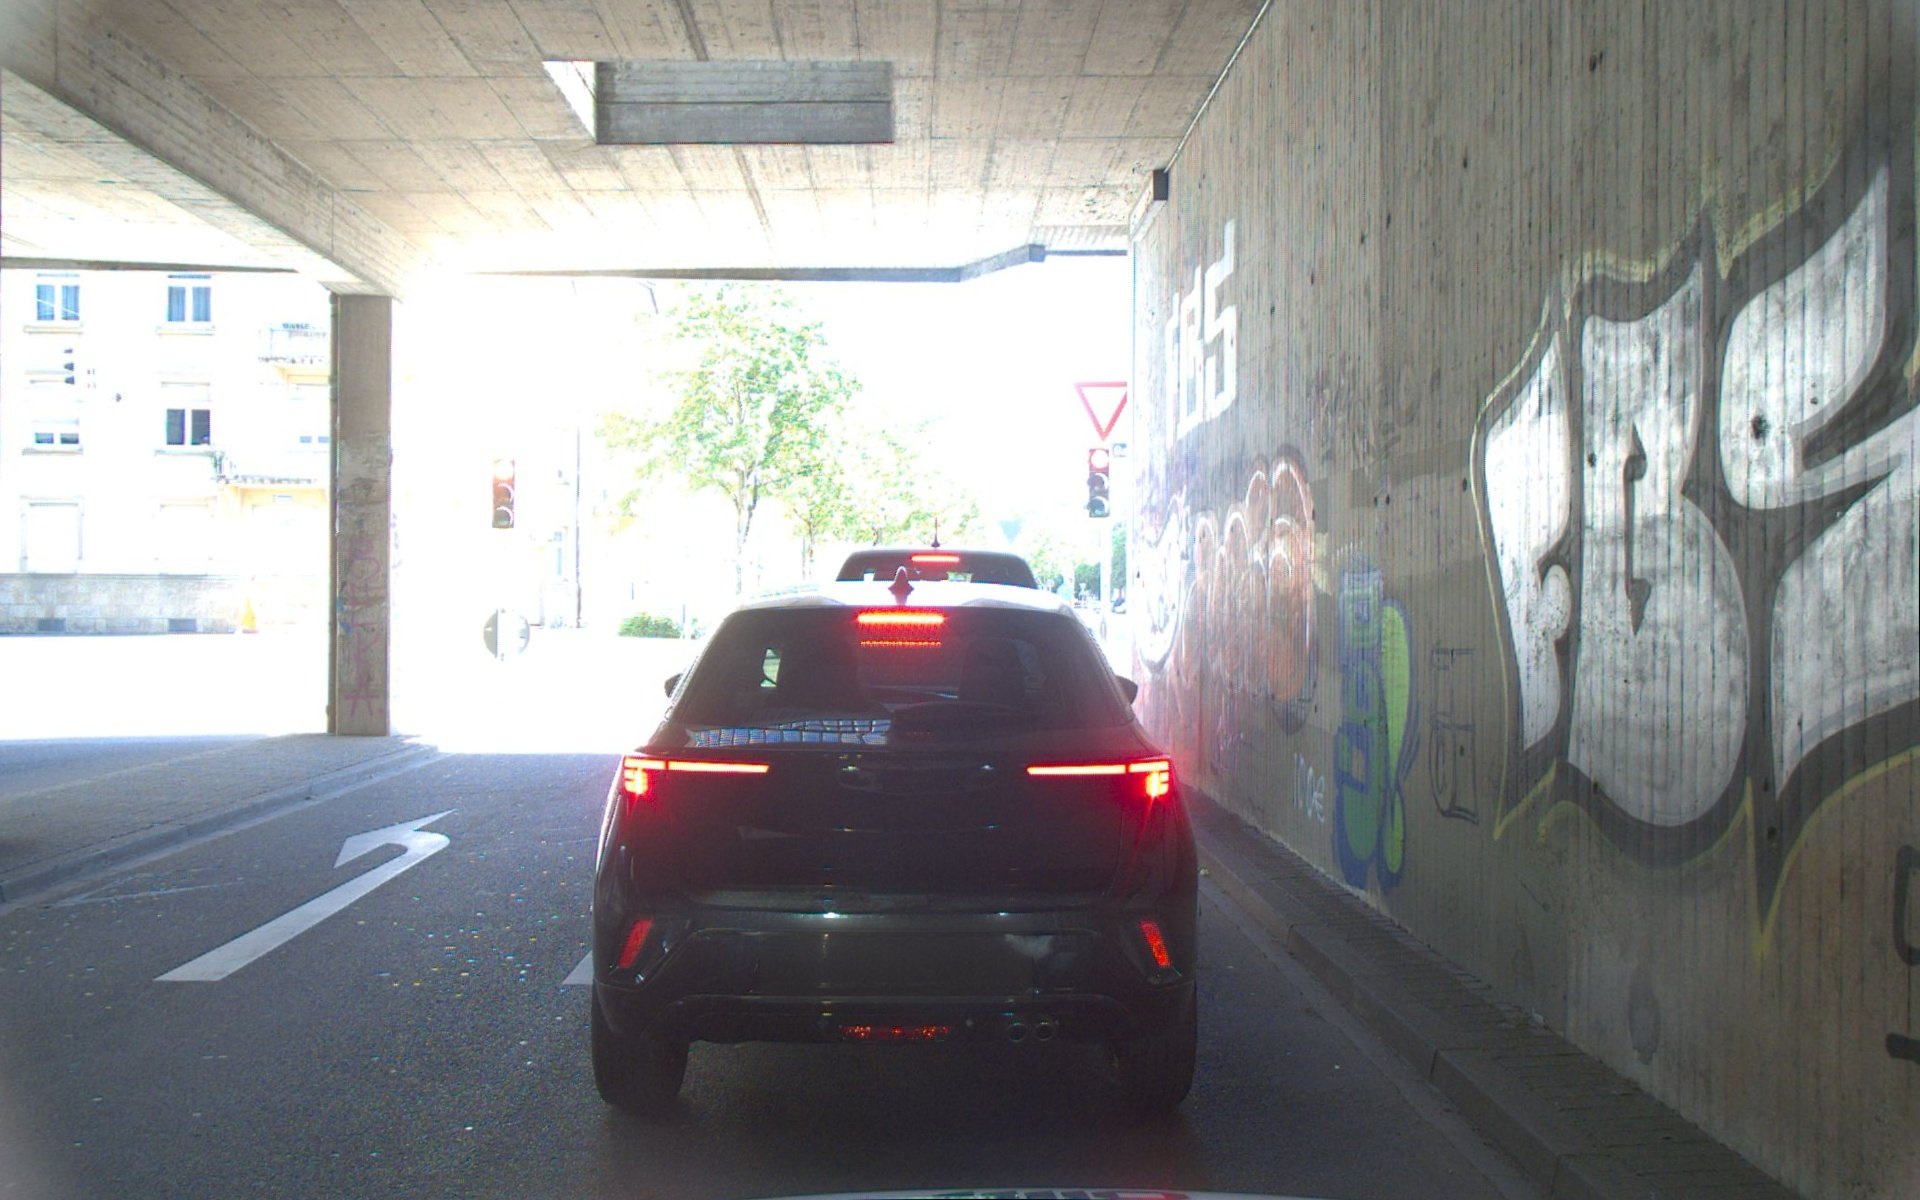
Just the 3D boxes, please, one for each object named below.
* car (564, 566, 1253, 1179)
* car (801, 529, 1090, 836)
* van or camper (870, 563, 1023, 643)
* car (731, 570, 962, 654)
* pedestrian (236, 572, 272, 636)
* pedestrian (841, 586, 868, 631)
[{"bbox_3d":[-0.143,0.682,6.188,1.718,1.525,4.000,1,0,-1],"label":"car"},{"bbox_3d":[-0.112,0.498,12.145,1.749,1.865,3.960,1,0,-1],"label":"car"},{"bbox_3d":[-0.313,0.065,43.417,3.795,2.049,2.002,0,0,7],"label":"van or camper"},{"bbox_3d":[-2.374,0.206,35.082,4.538,1.670,1.976,-1,1,-35],"label":"car"},{"bbox_3d":[-19.697,0.110,46.147,0.707,1.734,0.624,1,-1,-5],"label":"pedestrian"},{"bbox_3d":[-3.869,0.309,60.689,0.720,1.612,0.891,1,-1,15],"label":"pedestrian"}]
